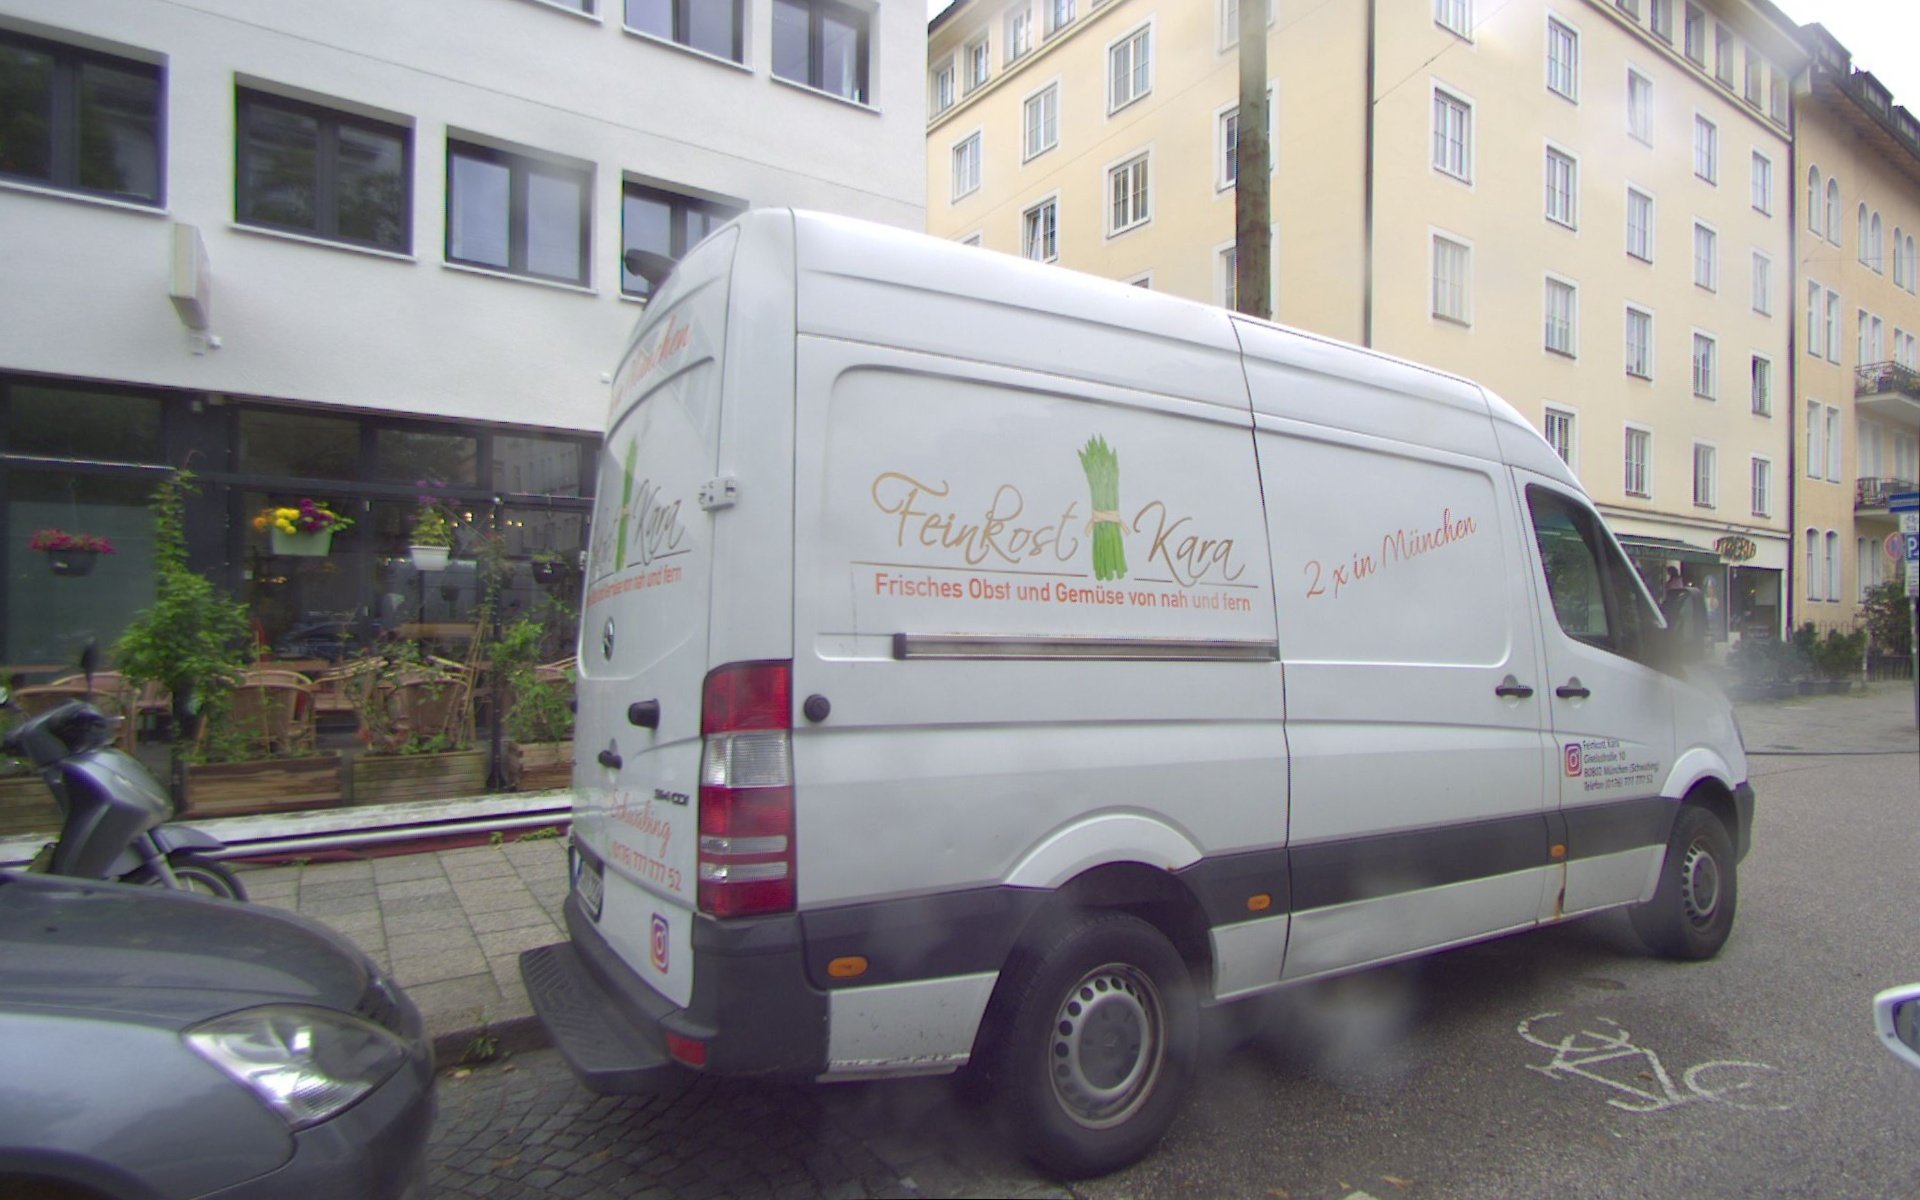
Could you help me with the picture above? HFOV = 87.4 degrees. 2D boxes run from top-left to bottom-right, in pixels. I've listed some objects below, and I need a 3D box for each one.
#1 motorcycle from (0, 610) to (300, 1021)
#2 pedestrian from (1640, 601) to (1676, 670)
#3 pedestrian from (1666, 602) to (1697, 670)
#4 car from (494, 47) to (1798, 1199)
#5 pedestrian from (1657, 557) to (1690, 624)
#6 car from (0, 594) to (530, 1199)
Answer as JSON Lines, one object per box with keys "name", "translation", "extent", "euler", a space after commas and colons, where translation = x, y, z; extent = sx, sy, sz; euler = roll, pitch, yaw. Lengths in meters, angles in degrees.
{"name": "motorcycle", "translation": [-3.603, 0.735, 3.598], "extent": [2.039, 1.387, 0.669], "euler": [2, 0, -35]}
{"name": "pedestrian", "translation": [17.224, 0.867, 24.796], "extent": [0.623, 1.664, 0.519], "euler": [1, 0, -33]}
{"name": "pedestrian", "translation": [18.433, 0.907, 25.663], "extent": [0.568, 1.713, 0.459], "euler": [1, 0, -33]}
{"name": "car", "translation": [1.231, 0.260, 4.380], "extent": [5.728, 2.608, 1.967], "euler": [2, -2, -31]}
{"name": "pedestrian", "translation": [17.940, -0.232, 25.248], "extent": [0.491, 1.664, 0.475], "euler": [1, 0, -29]}
{"name": "car", "translation": [-2.912, 0.719, 1.466], "extent": [3.943, 1.502, 1.650], "euler": [2, 0, -35]}
